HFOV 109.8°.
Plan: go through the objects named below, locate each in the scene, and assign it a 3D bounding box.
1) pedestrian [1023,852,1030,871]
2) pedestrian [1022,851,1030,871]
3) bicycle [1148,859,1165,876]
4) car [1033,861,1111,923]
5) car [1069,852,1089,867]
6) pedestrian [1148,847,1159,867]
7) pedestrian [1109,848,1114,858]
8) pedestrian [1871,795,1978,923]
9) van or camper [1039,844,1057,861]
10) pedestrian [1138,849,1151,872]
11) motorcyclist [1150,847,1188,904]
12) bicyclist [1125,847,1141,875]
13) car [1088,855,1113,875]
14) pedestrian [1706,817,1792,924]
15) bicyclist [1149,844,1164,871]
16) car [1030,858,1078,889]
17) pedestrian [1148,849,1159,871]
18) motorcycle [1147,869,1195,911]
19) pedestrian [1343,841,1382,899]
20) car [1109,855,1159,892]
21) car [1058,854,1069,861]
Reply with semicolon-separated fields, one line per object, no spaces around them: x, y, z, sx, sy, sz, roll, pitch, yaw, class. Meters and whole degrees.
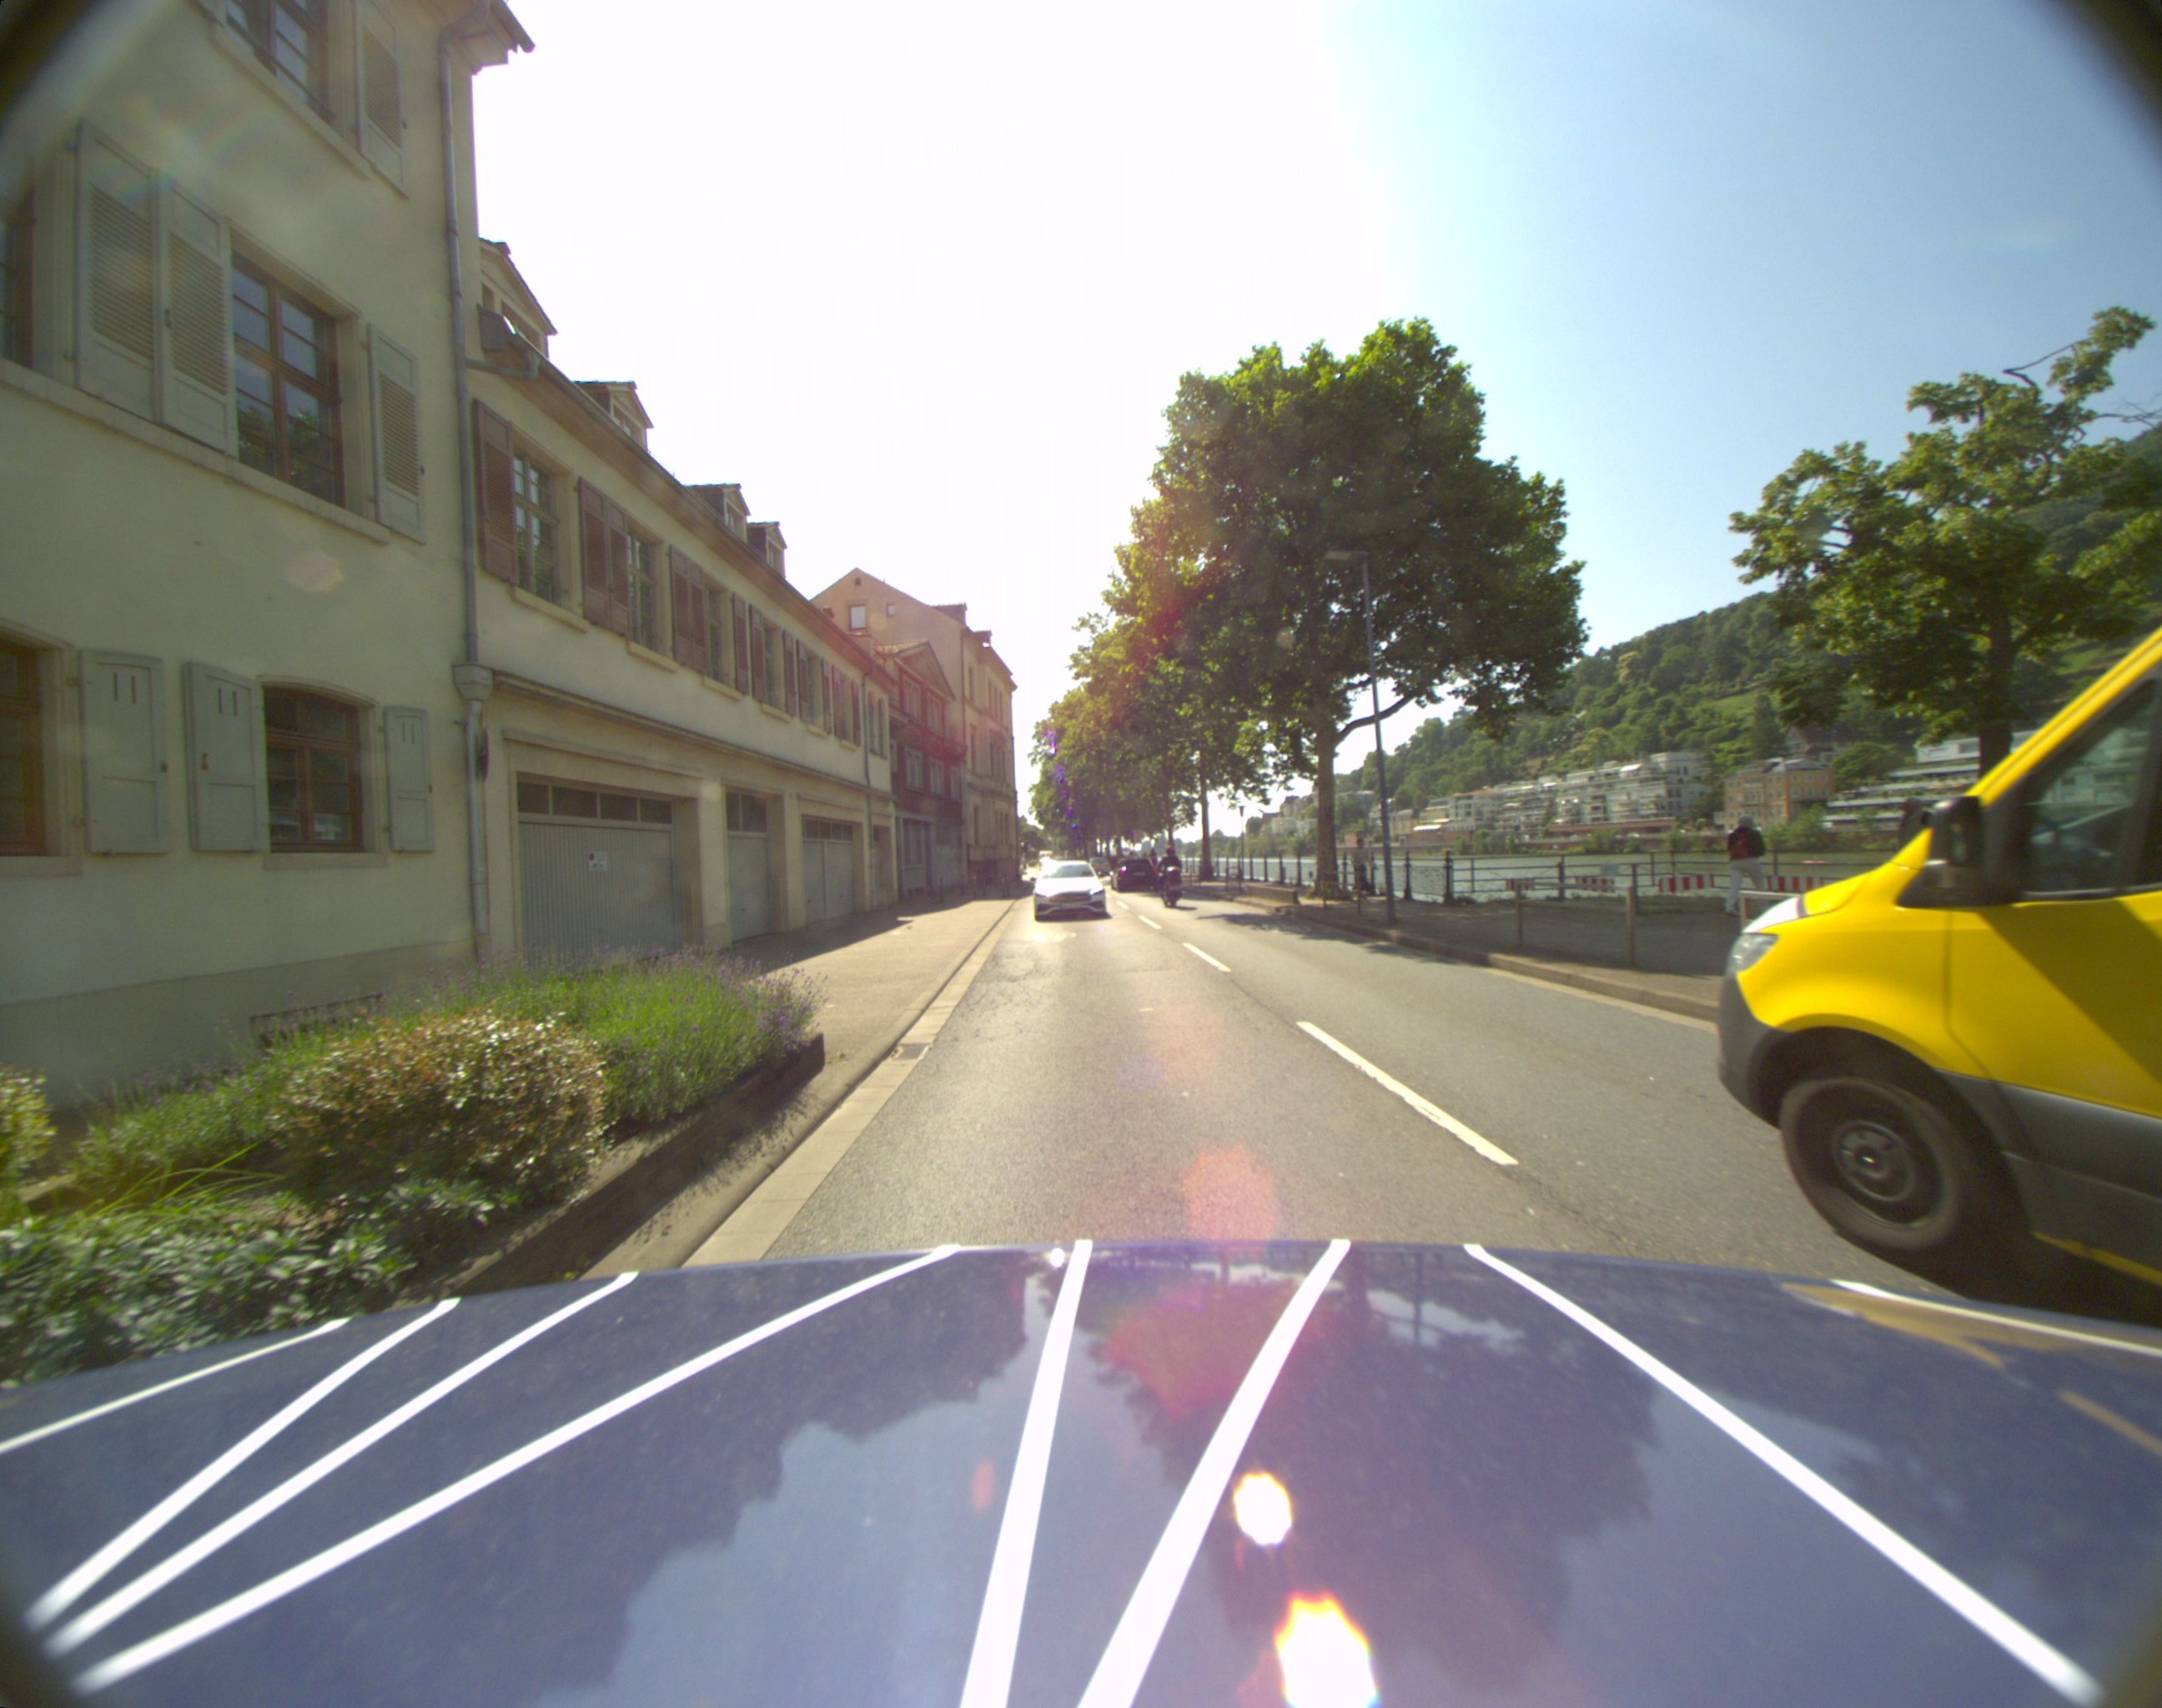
-5.020;0.664;69.901;0.528;1.702;0.665;-2;1;-3;pedestrian
-5.097;0.623;70.628;0.618;1.841;0.730;-2;1;-2;pedestrian
4.688;0.845;47.307;0.756;0.973;1.953;-2;0;-1;bicycle
-0.310;0.937;20.722;1.876;1.416;4.743;-1;0;-2;car
-0.255;0.593;86.364;1.740;1.509;4.402;-4;1;-6;car
6.298;0.271;65.986;0.713;1.754;0.972;-2;1;-3;pedestrian
4.721;-0.150;116.758;0.634;1.618;0.552;-2;1;-3;pedestrian
13.334;0.070;12.036;0.695;1.934;0.886;-2;1;-3;pedestrian
-4.723;-0.182;109.079;2.438;2.271;6.202;-2;1;-3;van or camper
4.892;0.491;58.535;0.837;1.703;0.782;-2;1;-3;pedestrian
2.505;0.595;21.717;0.881;1.574;1.024;-2;1;-4;motorcyclist
2.942;0.395;42.999;0.768;1.522;1.025;-3;-1;-1;bicyclist
1.540;0.898;61.083;1.705;1.436;4.091;-3;-1;-2;car
11.018;0.267;12.555;0.757;1.673;0.658;-4;1;9;pedestrian
4.666;0.212;47.072;0.721;1.574;1.089;-2;1;-1;bicyclist
-1.318;0.961;39.110;1.874;1.415;4.746;-3;0;5;car
5.605;0.455;58.690;0.654;1.703;0.793;-2;1;-4;pedestrian
2.549;1.002;21.712;0.886;1.071;2.327;-2;0;-5;motorcycle
7.798;0.433;21.062;0.764;1.577;0.695;-2;1;-3;pedestrian
2.213;0.791;32.643;1.706;1.450;4.001;-1;1;-2;car
-3.348;0.640;146.260;1.846;1.262;4.260;-4;1;-3;car
